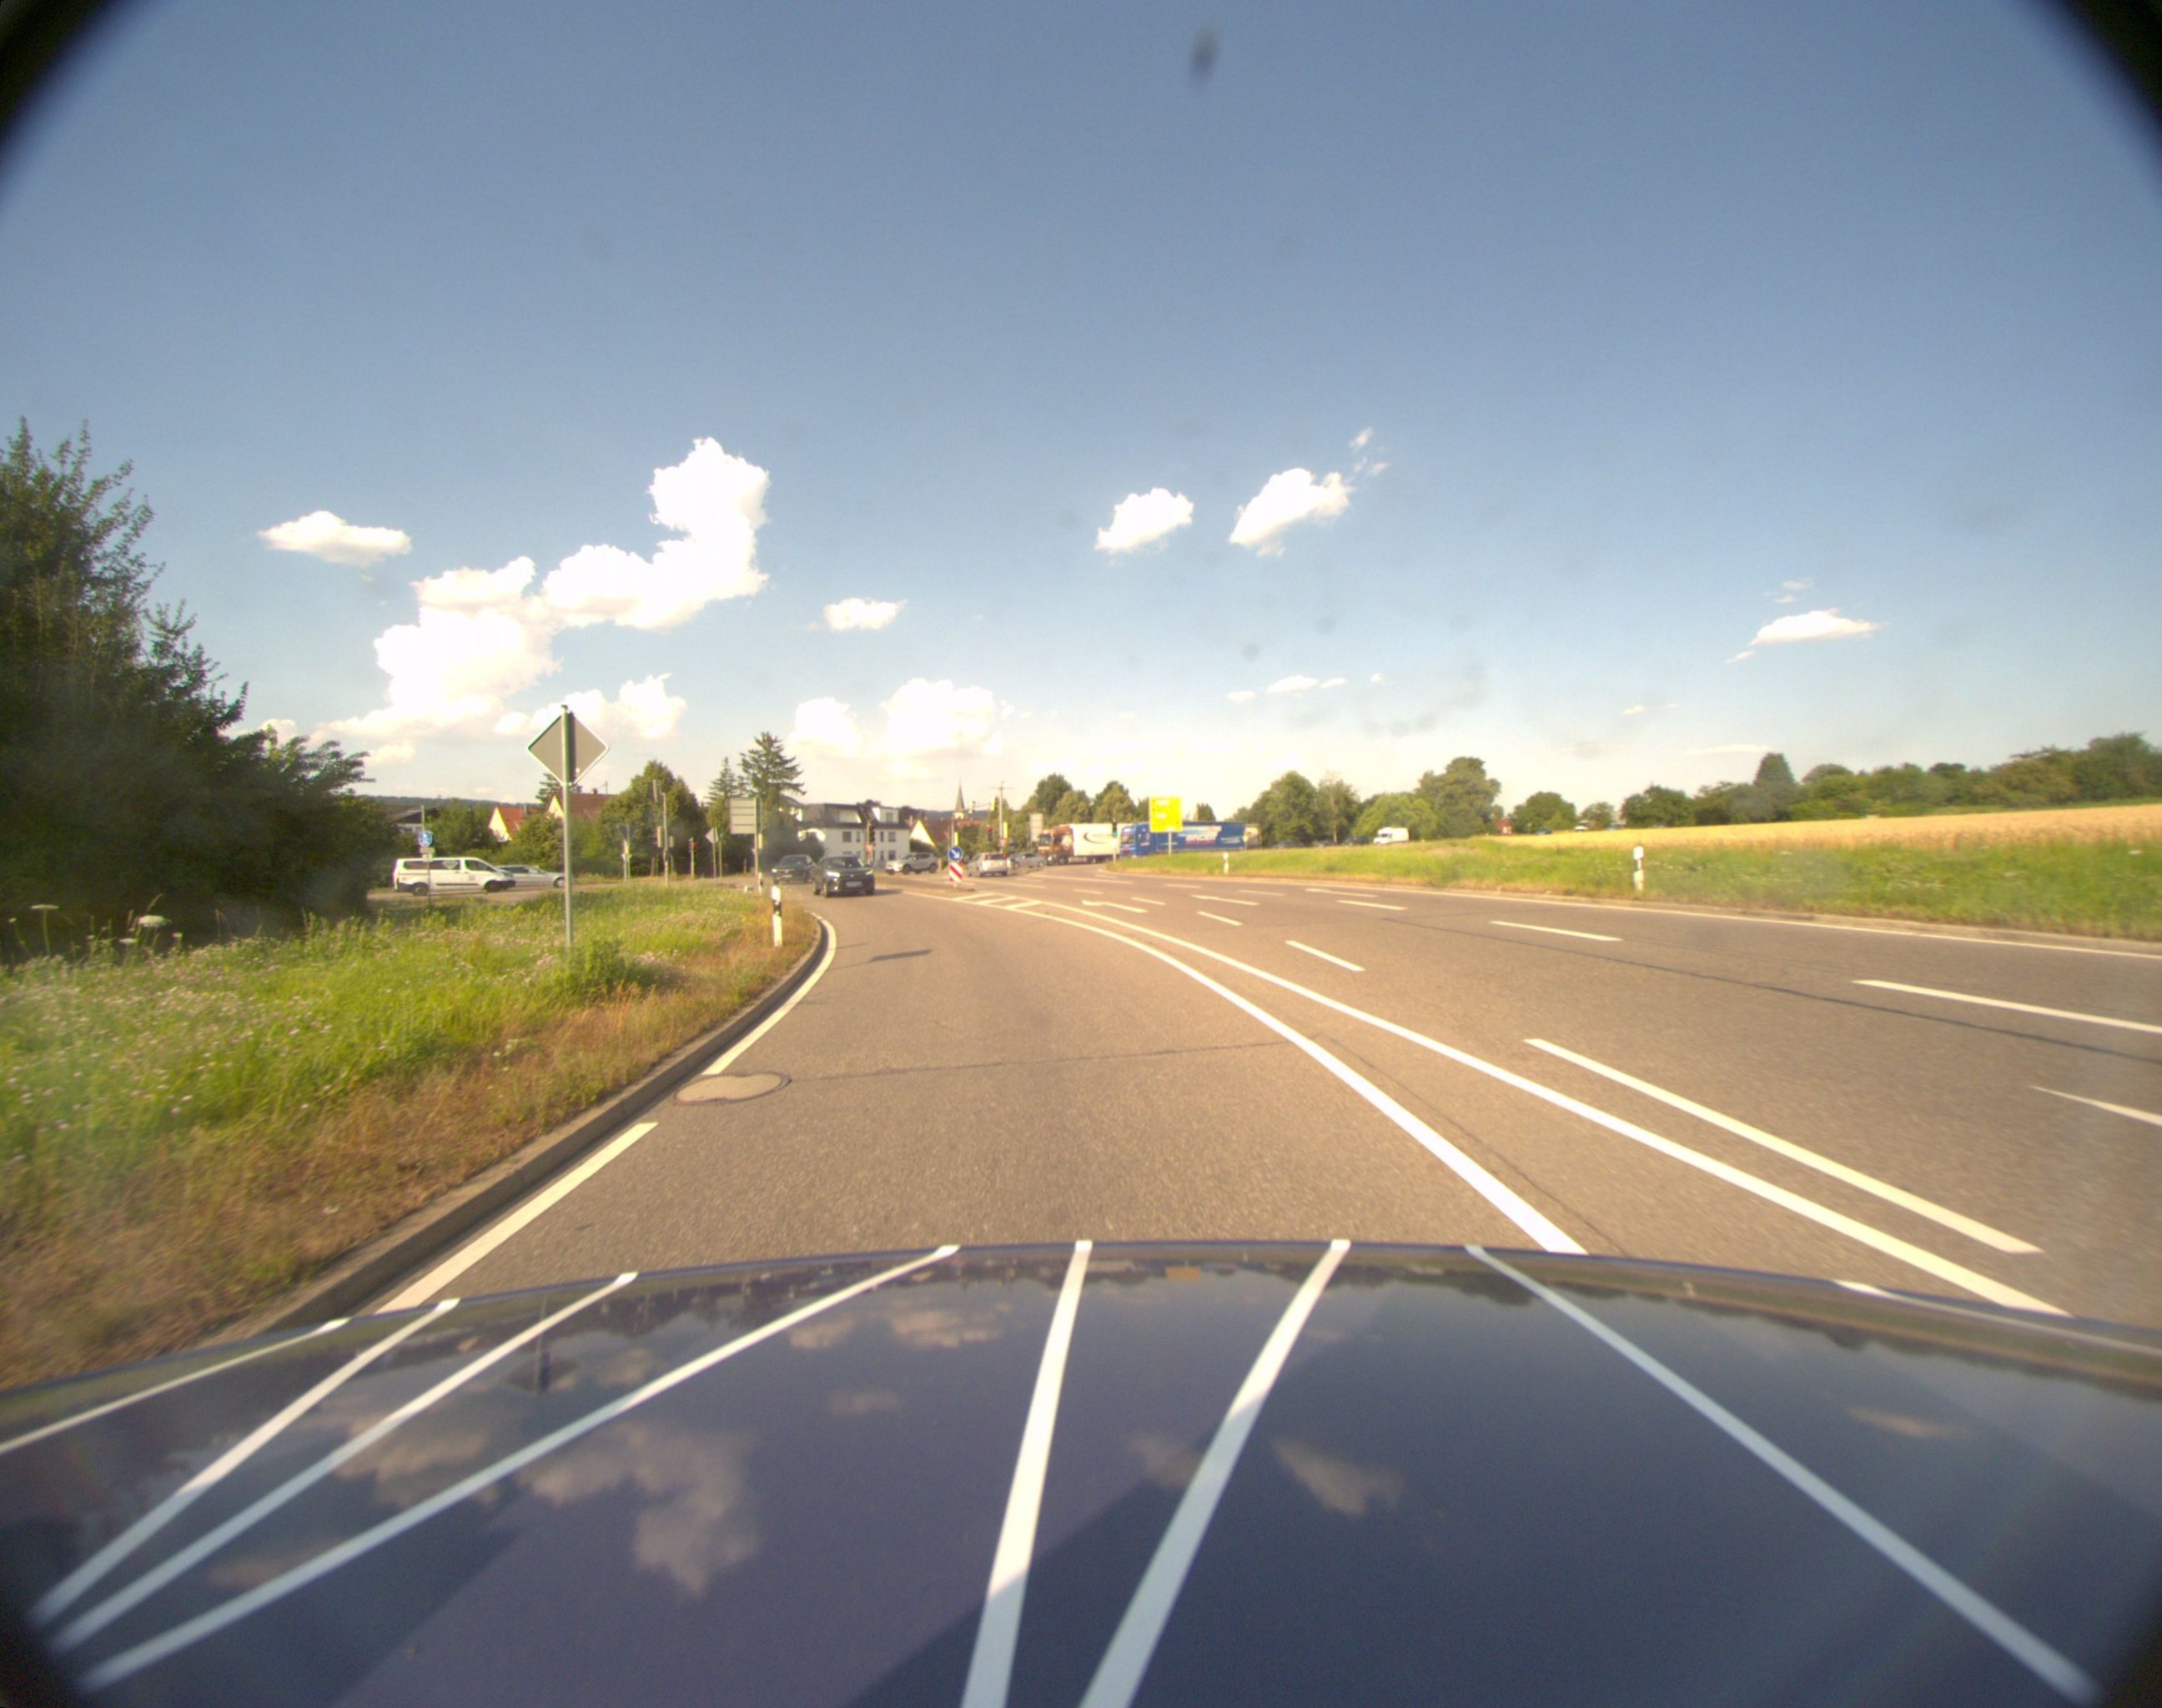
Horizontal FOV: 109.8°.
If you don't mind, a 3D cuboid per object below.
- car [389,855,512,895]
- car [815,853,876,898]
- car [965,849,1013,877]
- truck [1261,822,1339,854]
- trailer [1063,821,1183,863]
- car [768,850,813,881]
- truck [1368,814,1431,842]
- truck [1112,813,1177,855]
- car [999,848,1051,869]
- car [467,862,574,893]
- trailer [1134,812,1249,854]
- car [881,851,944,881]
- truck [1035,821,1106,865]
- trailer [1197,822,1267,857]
[{"bbox_3d":[-33.053,1.082,39.997,4.828,1.936,1.902,-1,-1,-39],"label":"car"},{"bbox_3d":[-9.551,0.827,30.556,1.791,1.620,4.460,-3,0,-24],"label":"car"},{"bbox_3d":[-5.778,0.602,47.223,1.822,1.519,4.347,-3,-1,-22],"label":"car"},{"bbox_3d":[28.532,-2.145,98.396,12.921,3.752,2.524,-3,1,-38],"label":"truck"},{"bbox_3d":[4.658,-1.363,79.579,14.361,4.043,2.534,-2,0,-38],"label":"trailer"},{"bbox_3d":[-16.643,0.641,43.427,1.778,1.603,4.538,-3,0,-28],"label":"car"},{"bbox_3d":[47.832,-3.917,113.747,12.921,3.752,2.524,-3,1,-38],"label":"truck"},{"bbox_3d":[6.395,-2.037,76.237,5.611,3.982,3.367,-3,1,-39],"label":"truck"},{"bbox_3d":[-4.894,0.381,66.827,4.006,1.477,1.995,-5,1,-39],"label":"car"},{"bbox_3d":[-33.281,1.384,45.206,4.962,1.505,1.858,-3,0,-39],"label":"car"},{"bbox_3d":[11.975,-2.314,80.731,13.773,3.981,3.410,-3,1,-39],"label":"trailer"},{"bbox_3d":[-12.757,0.878,57.881,1.903,1.936,4.379,-3,1,36],"label":"car"},{"bbox_3d":[-1.004,-1.122,75.105,6.673,4.020,2.534,-3,1,-38],"label":"truck"},{"bbox_3d":[17.922,-1.761,89.510,9.542,3.755,2.260,-3,0,-39],"label":"trailer"}]
